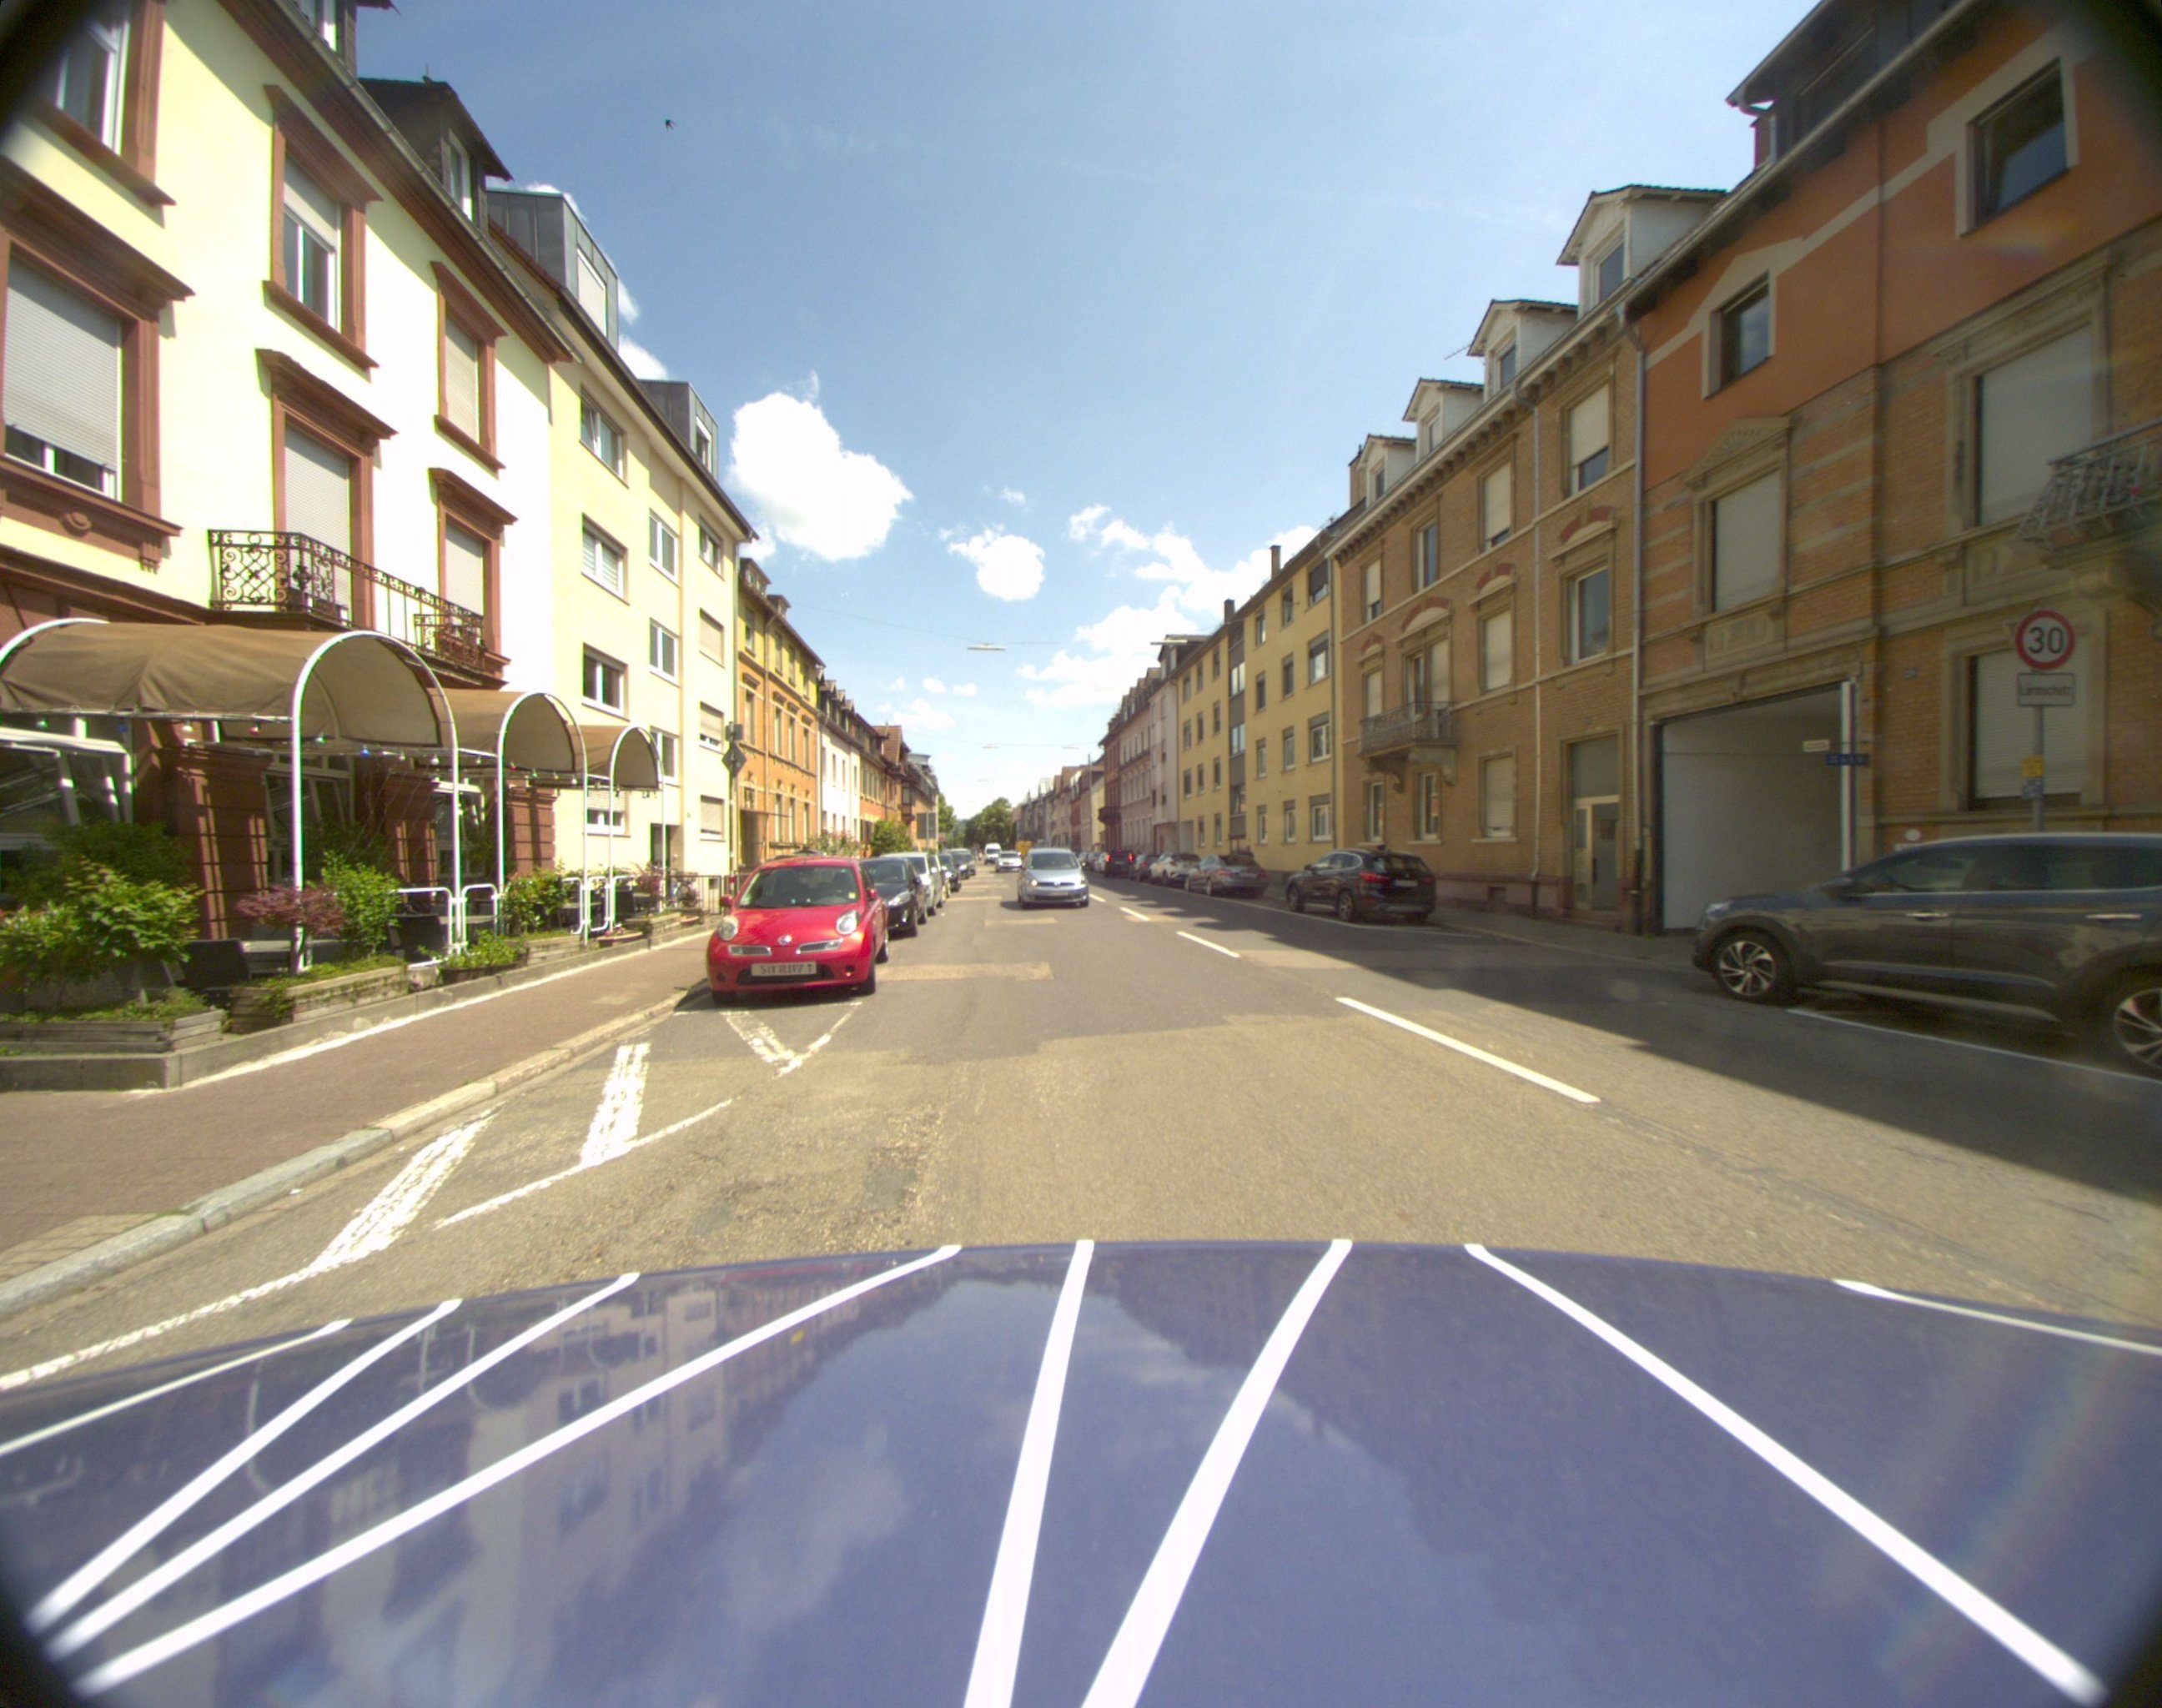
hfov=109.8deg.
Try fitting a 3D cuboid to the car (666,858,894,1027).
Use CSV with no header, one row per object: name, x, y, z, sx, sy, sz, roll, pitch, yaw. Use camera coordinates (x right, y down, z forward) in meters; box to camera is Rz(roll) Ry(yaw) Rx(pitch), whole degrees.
car,-3.354,0.851,9.231,1.763,1.470,3.780,-3,1,-10

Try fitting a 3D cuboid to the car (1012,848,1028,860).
car,-8.016,-0.041,99.426,1.811,1.425,3.997,1,1,-7

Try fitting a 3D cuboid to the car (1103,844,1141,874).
car,2.446,0.270,44.602,1.747,1.579,3.955,3,0,9

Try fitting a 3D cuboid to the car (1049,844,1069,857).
car,-2.551,-0.432,86.201,1.666,1.403,4.100,3,0,-10

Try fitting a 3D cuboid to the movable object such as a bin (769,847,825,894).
movable object such as a bin,-8.587,0.486,23.060,1.286,1.388,1.363,0,1,-6

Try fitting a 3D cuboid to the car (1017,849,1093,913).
car,-0.820,0.668,21.132,1.760,1.559,3.997,-1,1,-7

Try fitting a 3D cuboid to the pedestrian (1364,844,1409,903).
pedestrian,8.154,0.499,20.304,0.805,1.526,0.875,0,1,-2

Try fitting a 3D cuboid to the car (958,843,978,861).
car,-10.477,-0.205,70.716,1.709,1.618,3.928,-3,1,-7

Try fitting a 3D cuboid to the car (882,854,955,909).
car,-5.015,0.794,23.977,1.763,1.470,3.928,-3,1,-6

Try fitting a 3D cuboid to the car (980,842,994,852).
car,-13.312,-1.001,108.277,1.906,1.489,4.484,-1,1,-6

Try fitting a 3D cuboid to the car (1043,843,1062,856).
car,-3.390,-0.552,91.245,1.666,1.403,4.100,3,0,-10

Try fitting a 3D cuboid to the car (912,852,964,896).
car,-5.637,0.735,30.309,1.763,1.470,4.415,-3,1,-8

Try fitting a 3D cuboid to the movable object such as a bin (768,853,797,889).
movable object such as a bin,-10.055,0.567,25.595,0.724,1.161,0.746,0,1,-8

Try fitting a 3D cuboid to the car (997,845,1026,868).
car,-4.904,0.150,53.542,1.906,1.489,4.484,-1,1,-6

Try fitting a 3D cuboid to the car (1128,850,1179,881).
car,3.594,0.534,38.180,1.750,1.403,3.912,3,0,-6

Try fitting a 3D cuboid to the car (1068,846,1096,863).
car,0.027,0.011,68.155,1.751,1.403,4.100,3,0,-10

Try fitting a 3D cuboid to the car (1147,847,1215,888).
car,4.282,0.544,33.212,1.871,1.542,4.310,3,0,-7

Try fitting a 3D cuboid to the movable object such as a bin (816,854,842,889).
movable object such as a bin,-8.565,0.581,25.837,0.724,1.181,0.746,0,1,-8

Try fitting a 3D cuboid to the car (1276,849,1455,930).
car,6.349,0.709,17.622,1.871,1.542,4.496,3,0,-8

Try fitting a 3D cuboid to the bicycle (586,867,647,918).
bicycle,-9.769,0.785,16.030,0.553,0.977,1.628,-1,1,-11

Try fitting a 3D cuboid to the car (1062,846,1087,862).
car,-0.665,-0.038,73.609,1.751,1.403,4.100,3,0,-10

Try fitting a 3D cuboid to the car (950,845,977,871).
car,-8.299,0.277,53.950,1.709,1.700,3.928,-3,1,-7

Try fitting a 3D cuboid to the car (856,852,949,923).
car,-4.532,0.783,19.848,1.763,1.543,4.063,-3,1,-6

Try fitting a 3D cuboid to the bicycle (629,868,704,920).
bicycle,-8.664,0.808,15.962,0.552,0.977,1.630,-1,1,4

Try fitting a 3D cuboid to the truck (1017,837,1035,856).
truck,-8.562,-1.188,117.464,2.325,2.725,8.061,0,1,-8

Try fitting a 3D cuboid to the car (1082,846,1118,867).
car,1.386,0.176,56.273,1.751,1.403,4.508,3,0,-10

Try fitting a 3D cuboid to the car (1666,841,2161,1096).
car,7.619,0.753,6.127,1.871,1.618,4.496,3,0,-8

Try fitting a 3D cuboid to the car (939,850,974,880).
car,-6.920,0.578,42.405,1.709,1.470,3.928,-3,1,-7

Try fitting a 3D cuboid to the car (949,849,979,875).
car,-7.408,0.487,48.425,1.709,1.470,3.928,-3,1,-7

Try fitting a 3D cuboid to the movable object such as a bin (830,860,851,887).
movable object such as a bin,-8.650,0.689,27.340,0.626,0.923,0.611,0,1,-8

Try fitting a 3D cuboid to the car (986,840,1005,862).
car,-9.248,-0.347,81.850,1.906,2.261,5.667,-1,1,-8

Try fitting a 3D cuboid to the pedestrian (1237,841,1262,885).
pedestrian,6.660,0.347,30.038,0.804,1.746,0.875,0,1,1

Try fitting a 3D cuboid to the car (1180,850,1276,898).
car,5.046,0.637,26.766,1.911,1.443,4.682,3,0,-7

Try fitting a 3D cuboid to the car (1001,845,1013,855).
car,-11.966,-0.676,122.970,1.811,1.522,3.997,1,1,-7

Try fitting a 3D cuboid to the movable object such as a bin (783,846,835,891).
movable object such as a bin,-8.717,0.442,24.423,1.286,1.402,1.304,0,1,-6

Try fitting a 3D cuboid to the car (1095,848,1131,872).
car,2.074,0.379,50.911,1.750,1.403,4.281,3,0,-6

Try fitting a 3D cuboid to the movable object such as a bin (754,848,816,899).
movable object such as a bin,-8.406,0.528,21.657,1.286,1.388,1.412,0,1,-6

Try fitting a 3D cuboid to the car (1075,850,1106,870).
car,0.759,0.474,62.079,1.751,1.403,4.100,3,0,-10

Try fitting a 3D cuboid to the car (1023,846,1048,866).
car,-3.923,0.139,65.063,1.914,1.601,4.443,1,1,-6

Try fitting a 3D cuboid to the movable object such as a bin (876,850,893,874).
movable object such as a bin,-10.038,0.396,38.834,0.753,1.235,0.876,0,1,-8

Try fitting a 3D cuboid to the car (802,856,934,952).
car,-3.980,0.854,14.851,1.763,1.470,3.928,-3,1,-6
